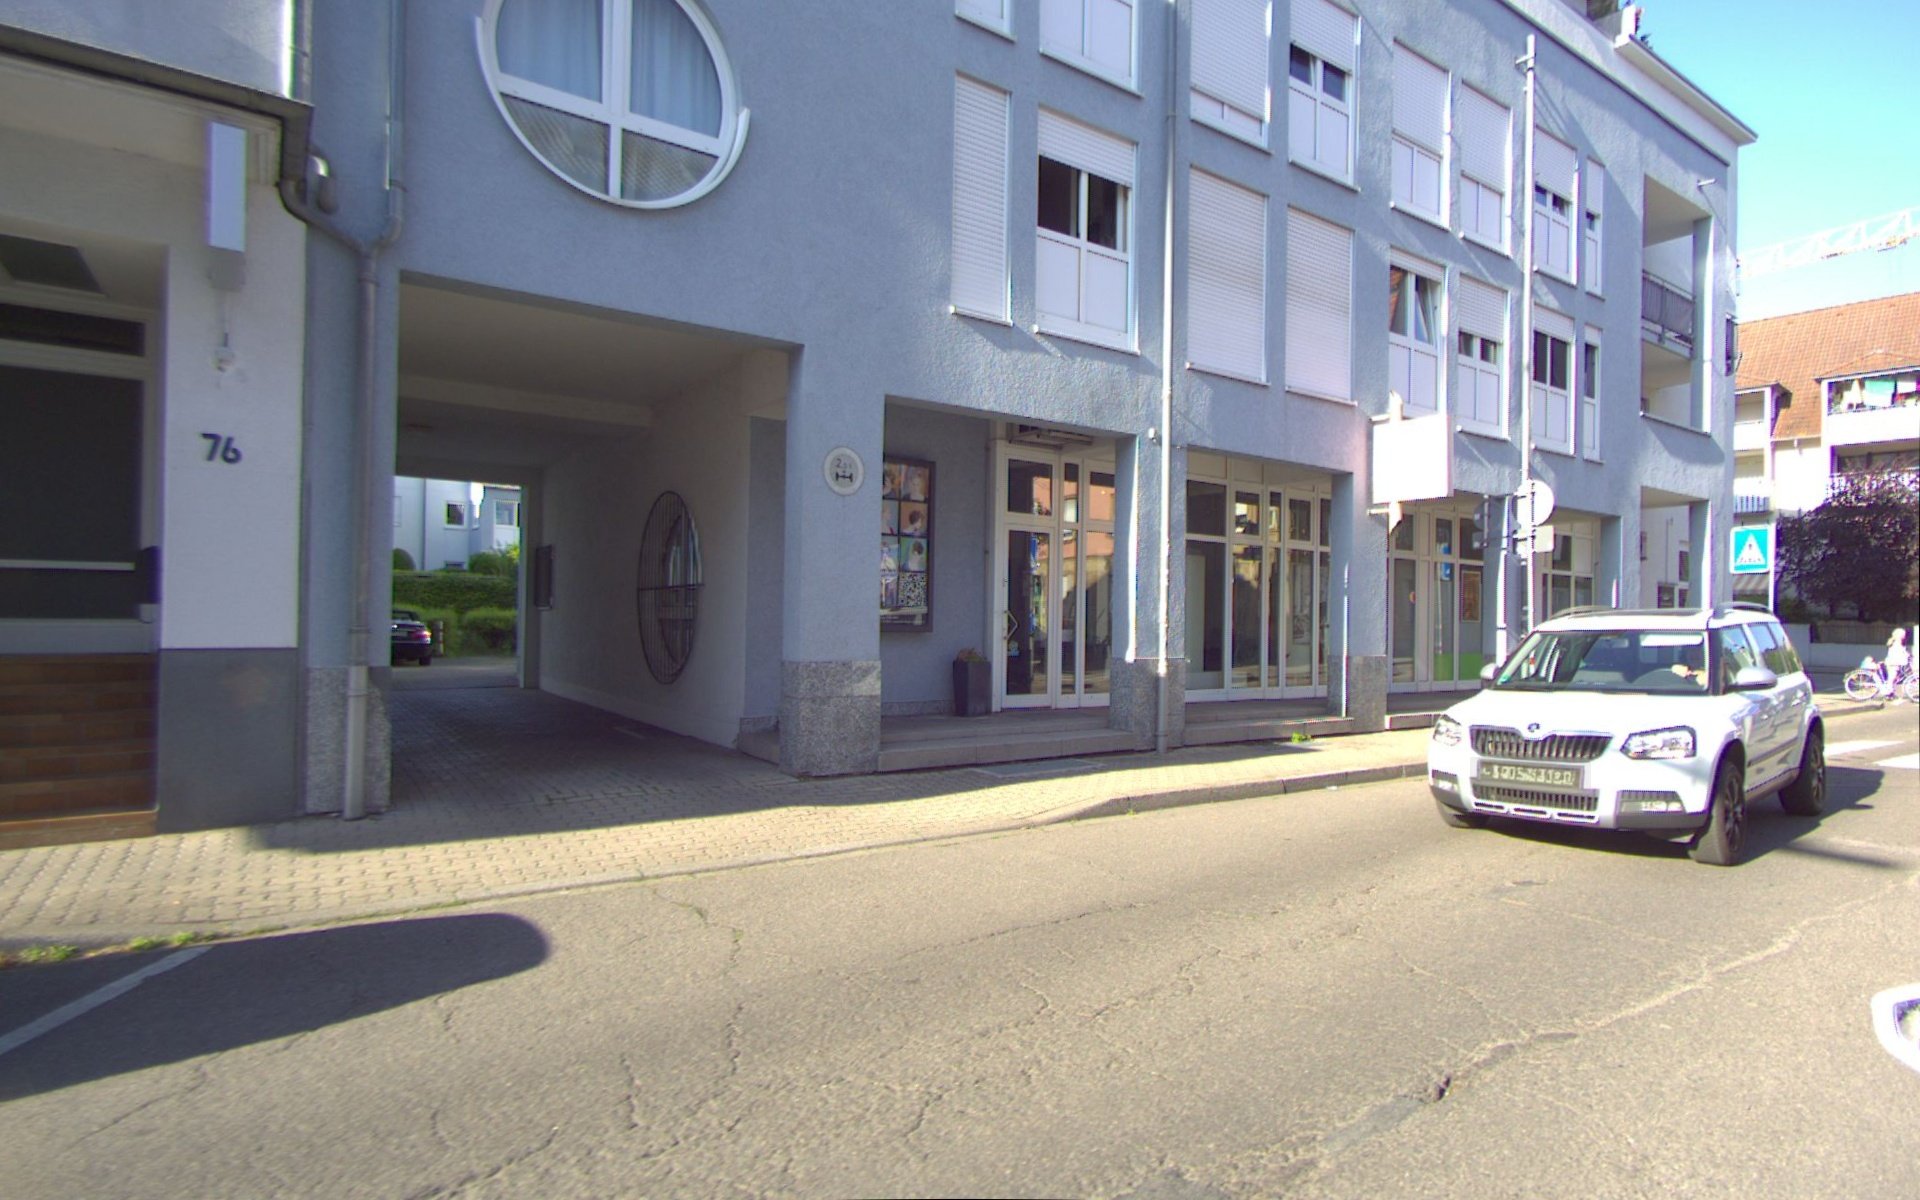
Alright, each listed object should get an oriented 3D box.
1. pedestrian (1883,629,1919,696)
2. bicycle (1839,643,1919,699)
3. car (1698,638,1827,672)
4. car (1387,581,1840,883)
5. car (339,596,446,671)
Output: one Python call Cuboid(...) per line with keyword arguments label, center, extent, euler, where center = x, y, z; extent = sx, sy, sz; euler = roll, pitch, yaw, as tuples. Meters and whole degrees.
Cuboid(label="pedestrian", center=(21.464, 1.406, 22.869), extent=(0.596, 1.492, 0.552), euler=(1, -2, -37))
Cuboid(label="bicycle", center=(21.128, 1.596, 22.724), extent=(0.592, 1.200, 1.776), euler=(1, -2, -32))
Cuboid(label="car", center=(30.189, 2.050, 37.850), extent=(1.601, 1.196, 3.515), euler=(1, -2, -37))
Cuboid(label="car", center=(5.213, 0.841, 7.801), extent=(4.158, 1.723, 1.792), euler=(1, -4, -40))
Cuboid(label="car", center=(-13.942, 0.793, 24.592), extent=(1.885, 1.691, 3.497), euler=(1, -1, -36))
